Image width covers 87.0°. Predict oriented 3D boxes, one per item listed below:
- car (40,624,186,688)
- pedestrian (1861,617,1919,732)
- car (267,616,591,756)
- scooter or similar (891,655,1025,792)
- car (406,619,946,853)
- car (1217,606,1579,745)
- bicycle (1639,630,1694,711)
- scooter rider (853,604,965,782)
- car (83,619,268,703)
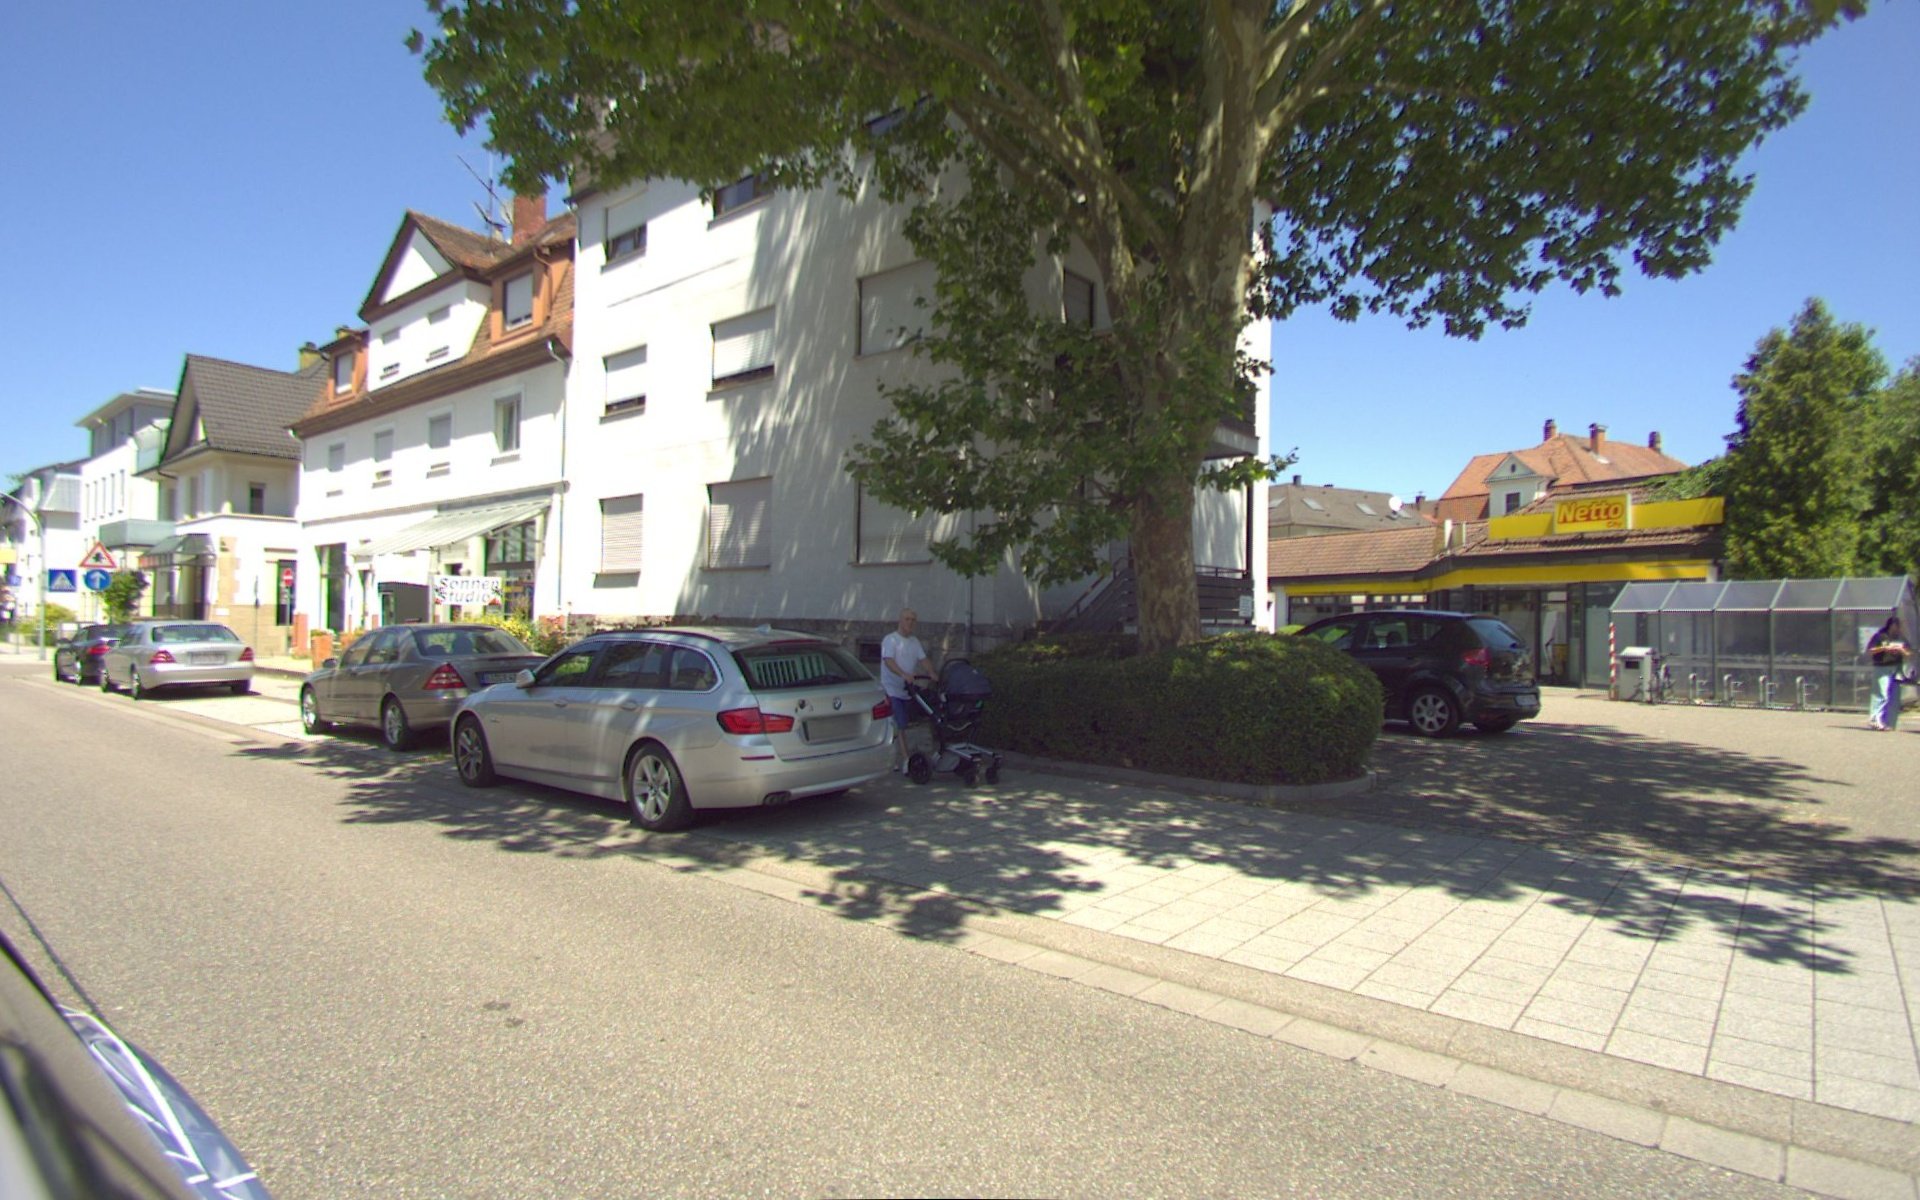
[{"bbox_3d":[-20.499,1.265,24.412,5.095,1.384,1.922,-1,-2,41],"label":"car"},{"bbox_3d":[13.756,1.067,14.780,0.715,1.639,0.678,-1,-2,29],"label":"pedestrian"},{"bbox_3d":[-6.917,0.951,12.940,4.863,1.463,1.961,-1,-1,40],"label":"car"},{"bbox_3d":[-0.023,1.074,9.161,1.028,1.106,0.656,-1,-1,42],"label":"scooter or similar"},{"bbox_3d":[-2.707,0.905,8.794,5.146,1.463,1.961,-1,-1,40],"label":"car"},{"bbox_3d":[5.664,0.913,13.561,1.782,1.557,4.115,2,-3,-37],"label":"car"},{"bbox_3d":[14.730,1.439,21.085,1.625,1.570,0.587,0,0,-42],"label":"bicycle"},{"bbox_3d":[-0.483,0.840,9.589,0.877,1.587,0.582,-2,-1,42],"label":"scooter rider"},{"bbox_3d":[-15.927,1.130,20.427,5.355,1.463,1.960,-1,-1,41],"label":"car"}]
